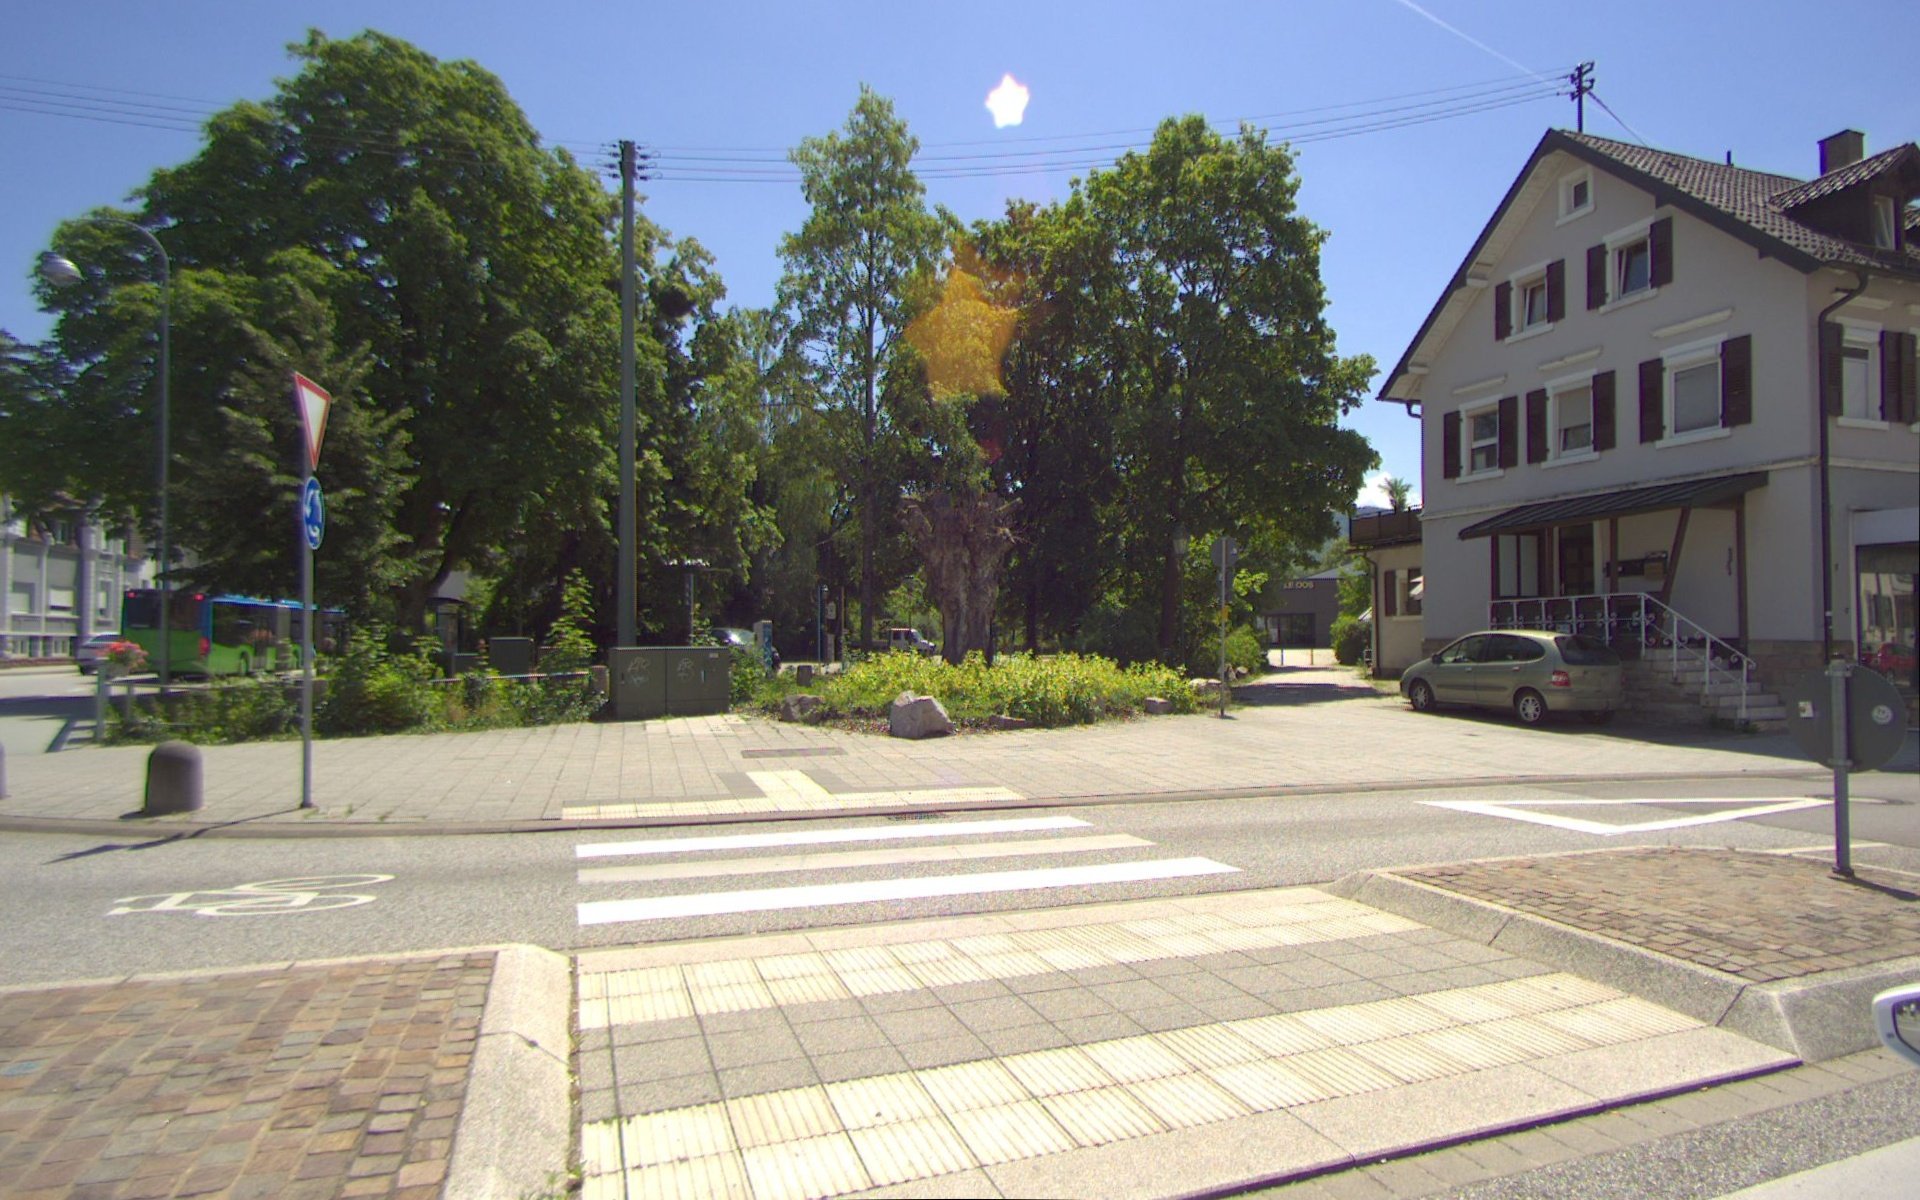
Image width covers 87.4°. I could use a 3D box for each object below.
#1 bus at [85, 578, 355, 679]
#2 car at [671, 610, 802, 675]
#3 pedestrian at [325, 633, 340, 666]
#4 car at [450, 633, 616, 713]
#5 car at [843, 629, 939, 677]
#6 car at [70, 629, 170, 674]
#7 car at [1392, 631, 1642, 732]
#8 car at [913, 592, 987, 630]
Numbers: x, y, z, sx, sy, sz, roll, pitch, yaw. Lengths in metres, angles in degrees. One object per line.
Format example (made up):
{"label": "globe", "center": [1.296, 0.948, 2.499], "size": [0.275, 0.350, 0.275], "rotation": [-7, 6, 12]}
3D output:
{"label": "bus", "center": [-29.336, 1.326, 41.484], "size": [3.662, 3.212, 17.994], "rotation": [2, -3, -19]}
{"label": "car", "center": [-7.407, 1.379, 33.273], "size": [3.928, 2.040, 1.997], "rotation": [-1, -2, 29]}
{"label": "pedestrian", "center": [-27.596, 2.169, 44.179], "size": [0.484, 1.473, 0.527], "rotation": [1, -1, -26]}
{"label": "car", "center": [-9.110, 1.495, 21.450], "size": [3.028, 1.573, 1.619], "rotation": [1, -2, -35]}
{"label": "car", "center": [-3.036, 2.296, 44.134], "size": [3.932, 2.040, 1.995], "rotation": [1, -2, -14]}
{"label": "car", "center": [-32.728, 1.963, 39.270], "size": [1.879, 1.684, 4.382], "rotation": [1, -2, -25]}
{"label": "car", "center": [10.158, 1.403, 18.694], "size": [1.730, 1.661, 3.985], "rotation": [1, -2, -18]}
{"label": "car", "center": [-0.526, 0.625, 55.915], "size": [3.919, 2.040, 2.001], "rotation": [0, -1, 5]}
